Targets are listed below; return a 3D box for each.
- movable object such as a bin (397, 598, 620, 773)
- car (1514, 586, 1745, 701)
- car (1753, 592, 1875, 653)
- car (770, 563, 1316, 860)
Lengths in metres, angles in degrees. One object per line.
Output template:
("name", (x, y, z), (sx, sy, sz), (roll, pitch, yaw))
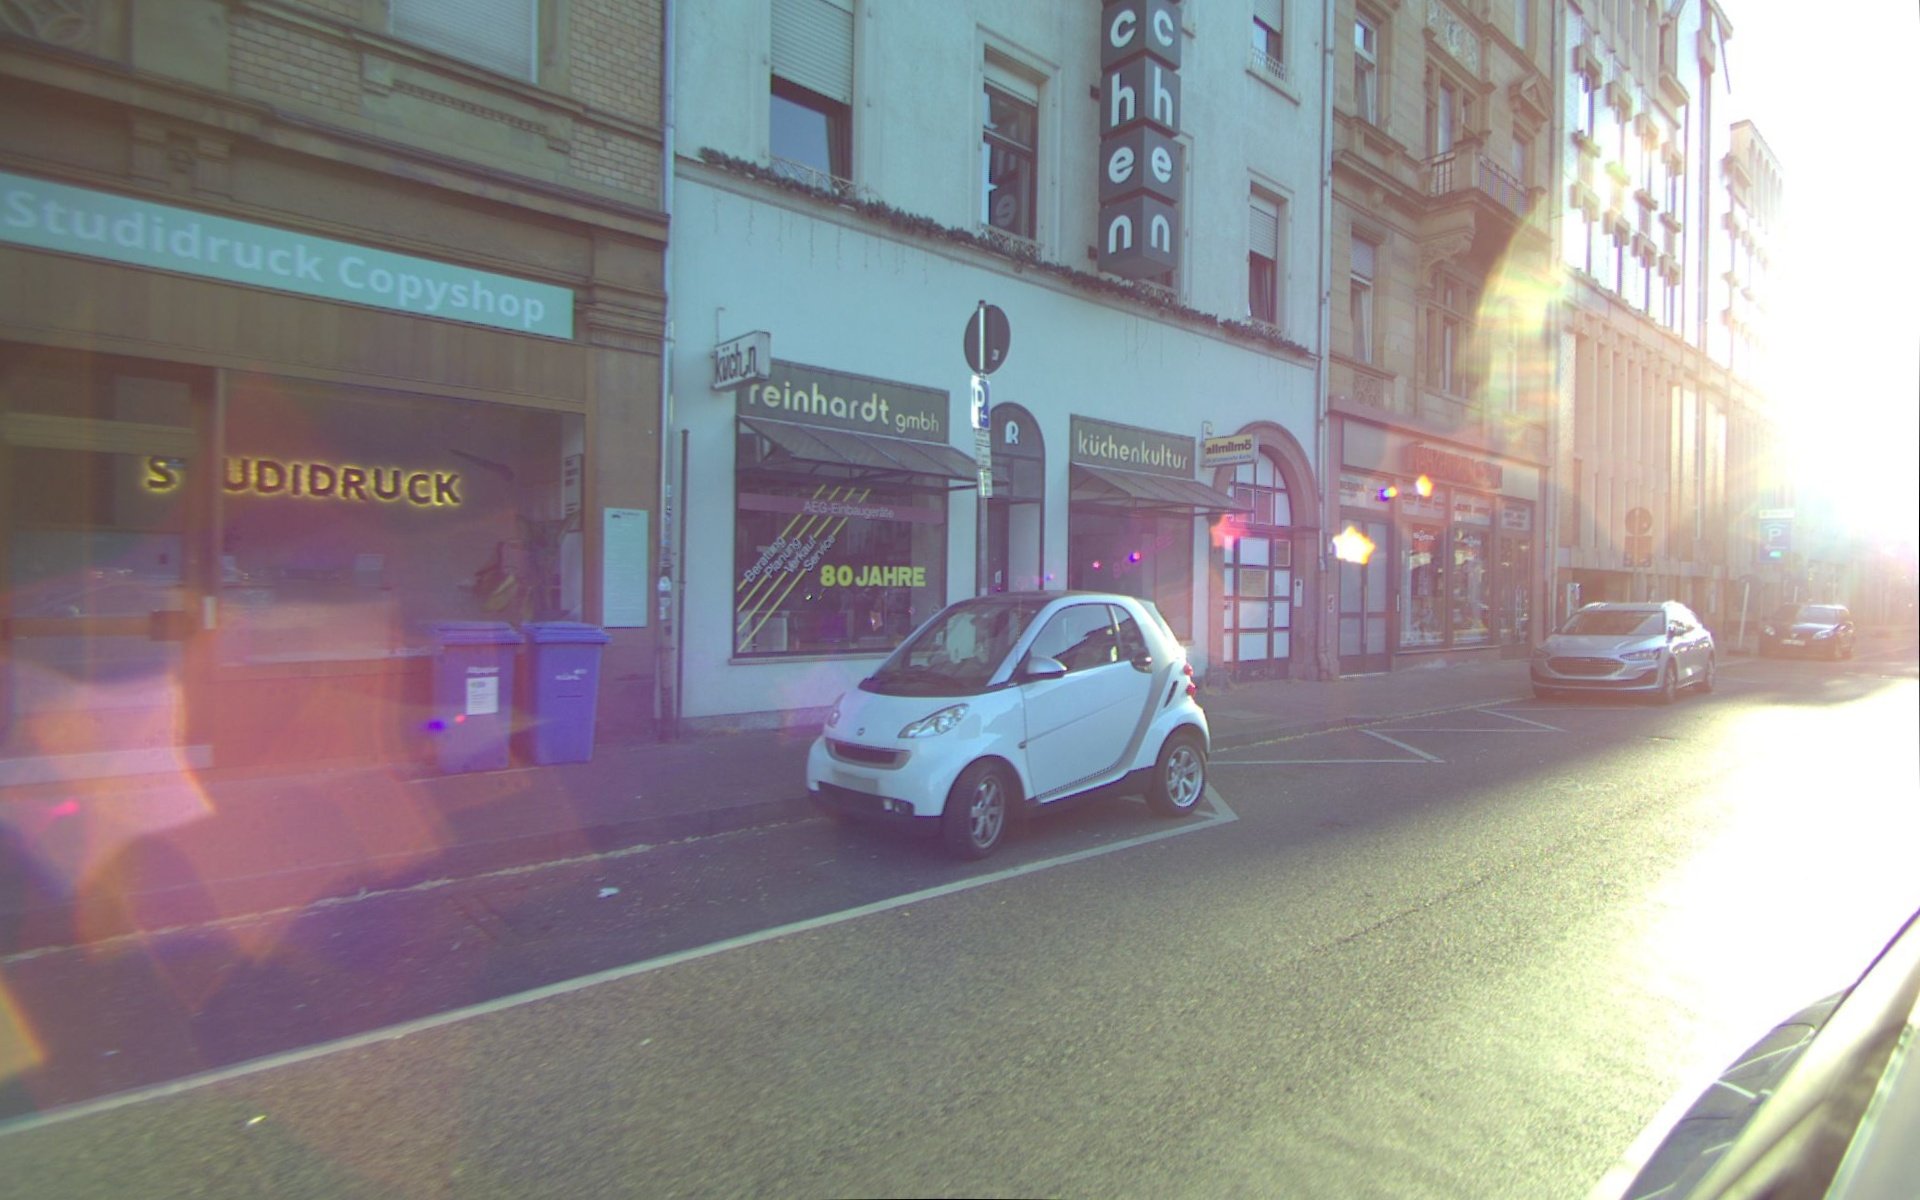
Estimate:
("movable object such as a bin", (-3.474, 0.596, 7.813), (1.374, 1.201, 0.868), (0, 1, -41))
("car", (10.724, 0.635, 16.070), (4.601, 1.554, 1.996), (2, -1, -42))
("car", (23.881, 0.596, 28.263), (3.929, 1.539, 1.998), (1, 1, -41))
("car", (0.782, 0.628, 7.417), (3.929, 1.605, 1.703), (2, 0, -41))
